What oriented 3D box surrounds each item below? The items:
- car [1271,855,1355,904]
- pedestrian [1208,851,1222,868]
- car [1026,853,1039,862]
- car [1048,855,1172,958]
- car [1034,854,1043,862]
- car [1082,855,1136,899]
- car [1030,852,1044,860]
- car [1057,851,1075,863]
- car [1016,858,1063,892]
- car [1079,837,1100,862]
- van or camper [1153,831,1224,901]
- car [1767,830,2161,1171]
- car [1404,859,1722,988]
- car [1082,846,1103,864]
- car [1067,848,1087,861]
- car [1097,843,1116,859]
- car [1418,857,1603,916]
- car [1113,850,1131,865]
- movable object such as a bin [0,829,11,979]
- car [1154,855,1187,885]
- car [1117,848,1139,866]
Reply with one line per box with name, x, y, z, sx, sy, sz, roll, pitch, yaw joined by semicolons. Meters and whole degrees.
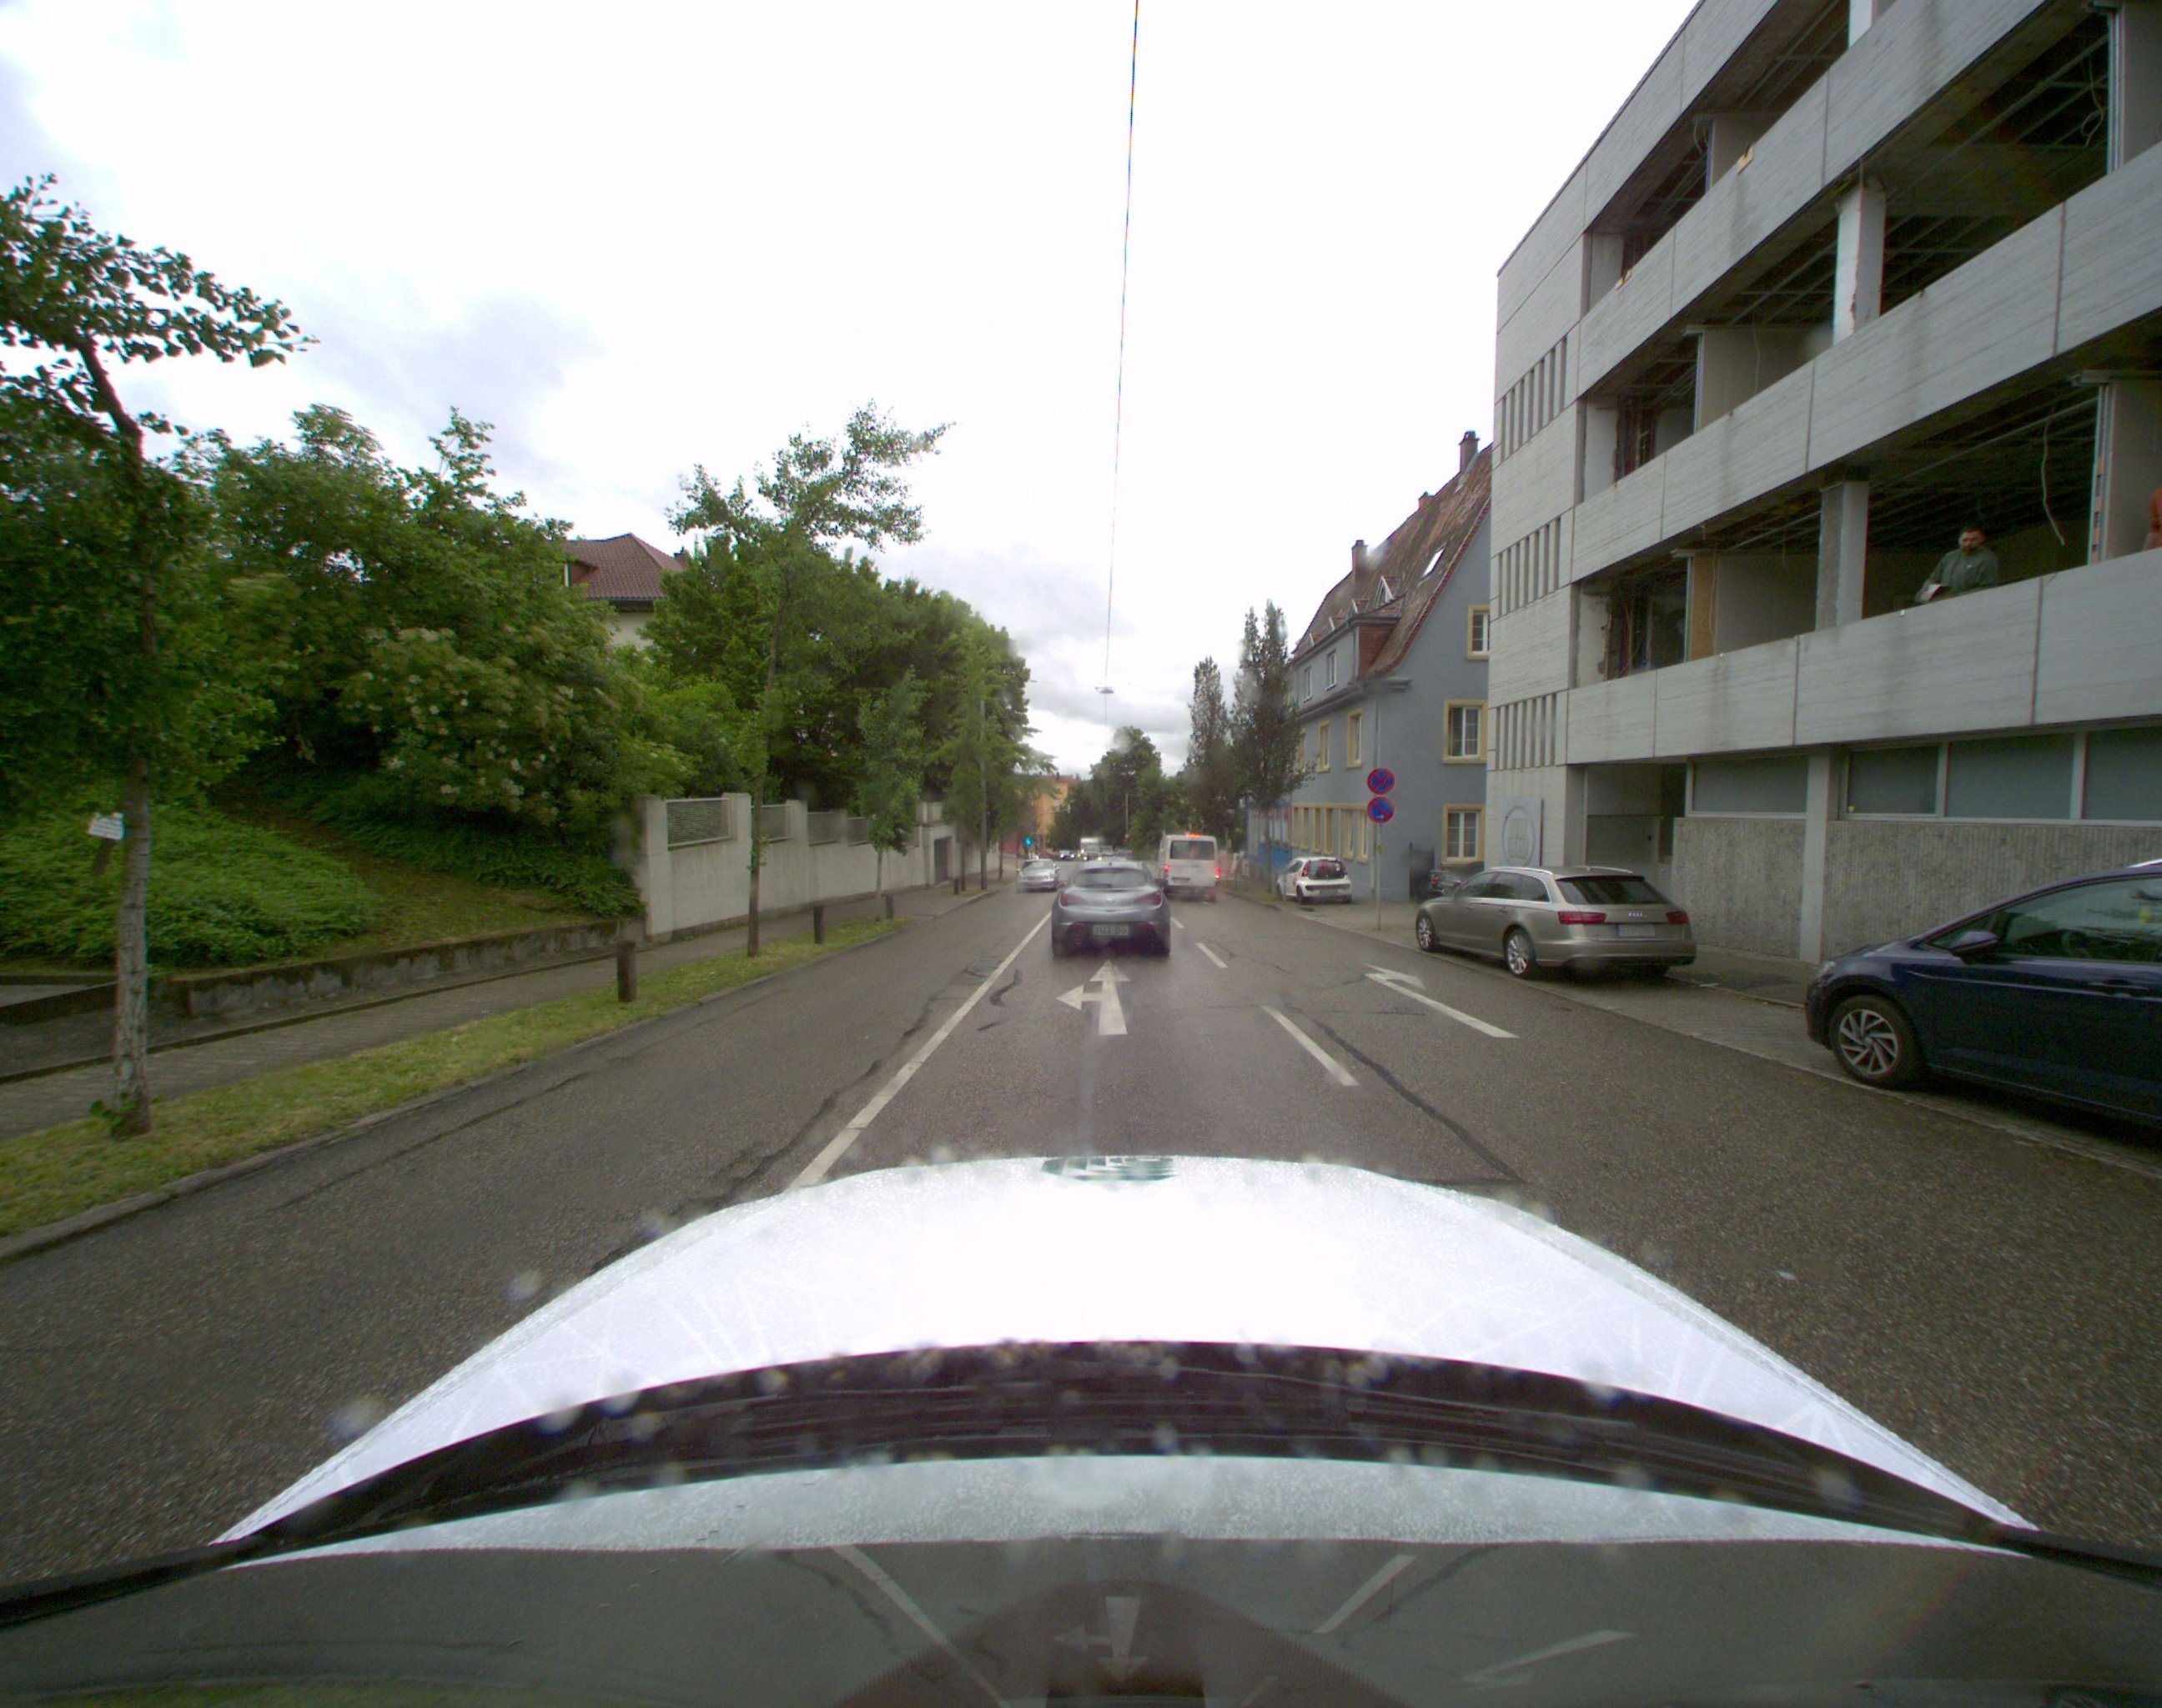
car;7.436;0.759;26.388;1.582;1.411;3.453;-2;0;-2
pedestrian;12.839;0.533;77.987;0.772;1.605;0.954;-2;0;-42
car;-8.271;0.587;138.629;1.774;1.497;4.248;1;-1;-10
car;0.488;0.771;13.959;1.808;1.429;4.002;1;1;2
car;-9.016;0.835;173.763;1.772;1.429;3.782;1;1;-3
car;0.985;0.763;29.015;1.769;1.430;3.787;-1;0;2
car;-8.823;0.462;164.150;1.820;1.467;3.976;-5;0;-17
car;-2.074;0.427;114.271;1.875;1.575;4.571;0;0;-9
car;-1.774;0.881;36.038;1.713;1.384;4.287;0;0;2
car;0.890;-0.443;87.166;2.111;2.545;5.536;0;0;-1
van or camper;3.935;0.412;30.742;2.096;2.326;5.419;2;0;2
car;6.174;0.717;4.174;1.738;1.674;4.345;0;0;1
car;6.541;0.821;11.824;1.809;1.459;4.740;0;0;0
car;1.089;0.054;77.735;1.816;1.652;4.345;1;1;-1
car;-0.541;0.033;100.194;1.874;1.575;4.572;0;0;-9
car;3.173;-0.384;101.383;1.780;1.855;3.991;0;-1;-6
car;11.261;0.807;21.390;4.366;1.407;1.798;0;0;-18
car;4.064;0.353;81.663;1.615;1.486;3.434;0;-1;-1
movable object such as a bin;-10.053;0.475;6.531;1.261;1.315;1.160;0;3;-7
car;4.489;0.755;41.014;1.377;1.411;3.458;-1;0;2
car;3.885;0.280;68.114;1.615;1.486;3.435;0;-1;0
